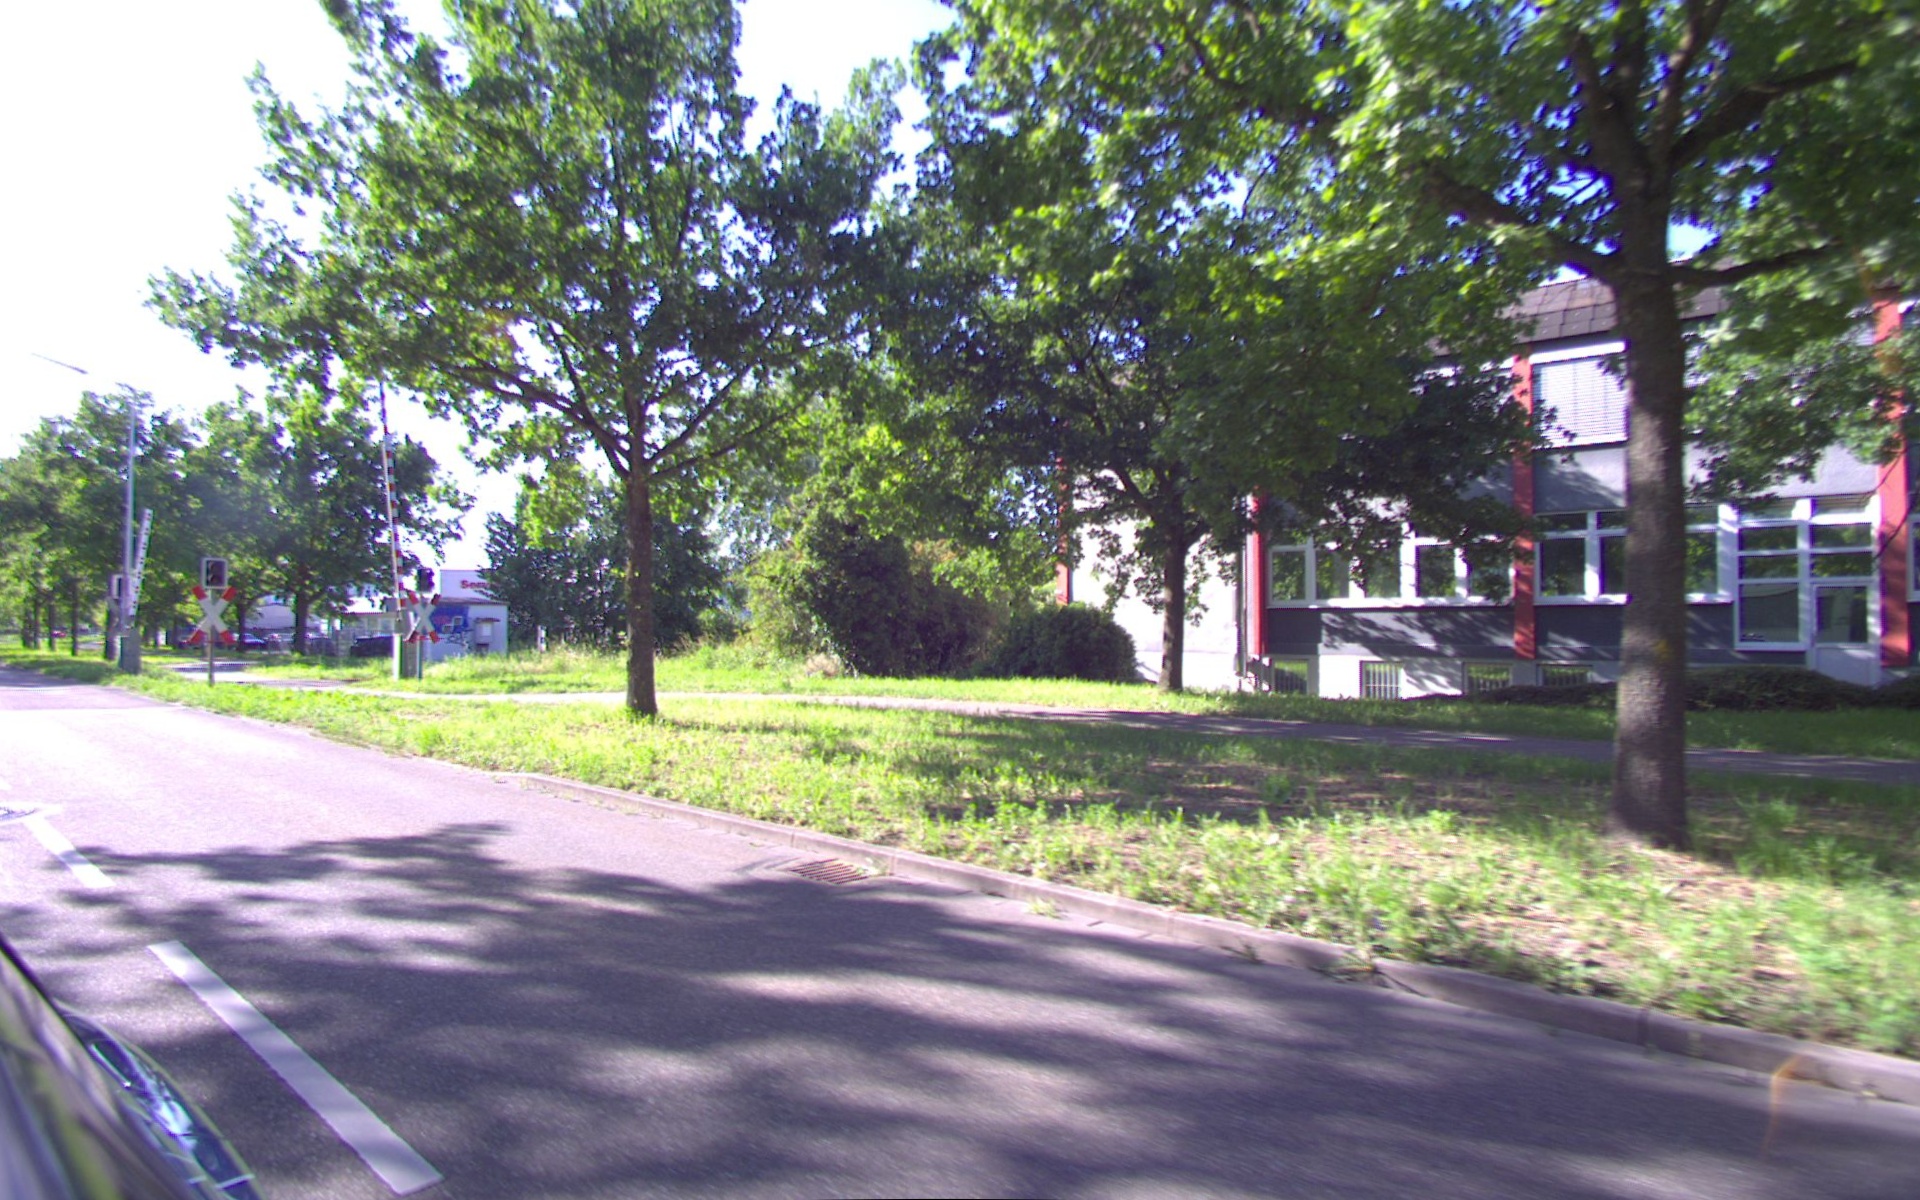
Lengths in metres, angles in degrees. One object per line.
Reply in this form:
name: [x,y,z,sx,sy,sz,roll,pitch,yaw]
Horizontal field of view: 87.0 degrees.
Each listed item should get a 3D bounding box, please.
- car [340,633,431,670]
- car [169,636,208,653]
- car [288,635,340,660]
car: [-32.254,2.866,56.898,1.997,1.815,3.949,-2,-1,38]
car: [-68.357,3.952,89.706,2.531,1.481,1.430,1,-2,-28]
car: [-45.051,3.264,70.580,5.017,1.610,1.971,-2,-1,44]
